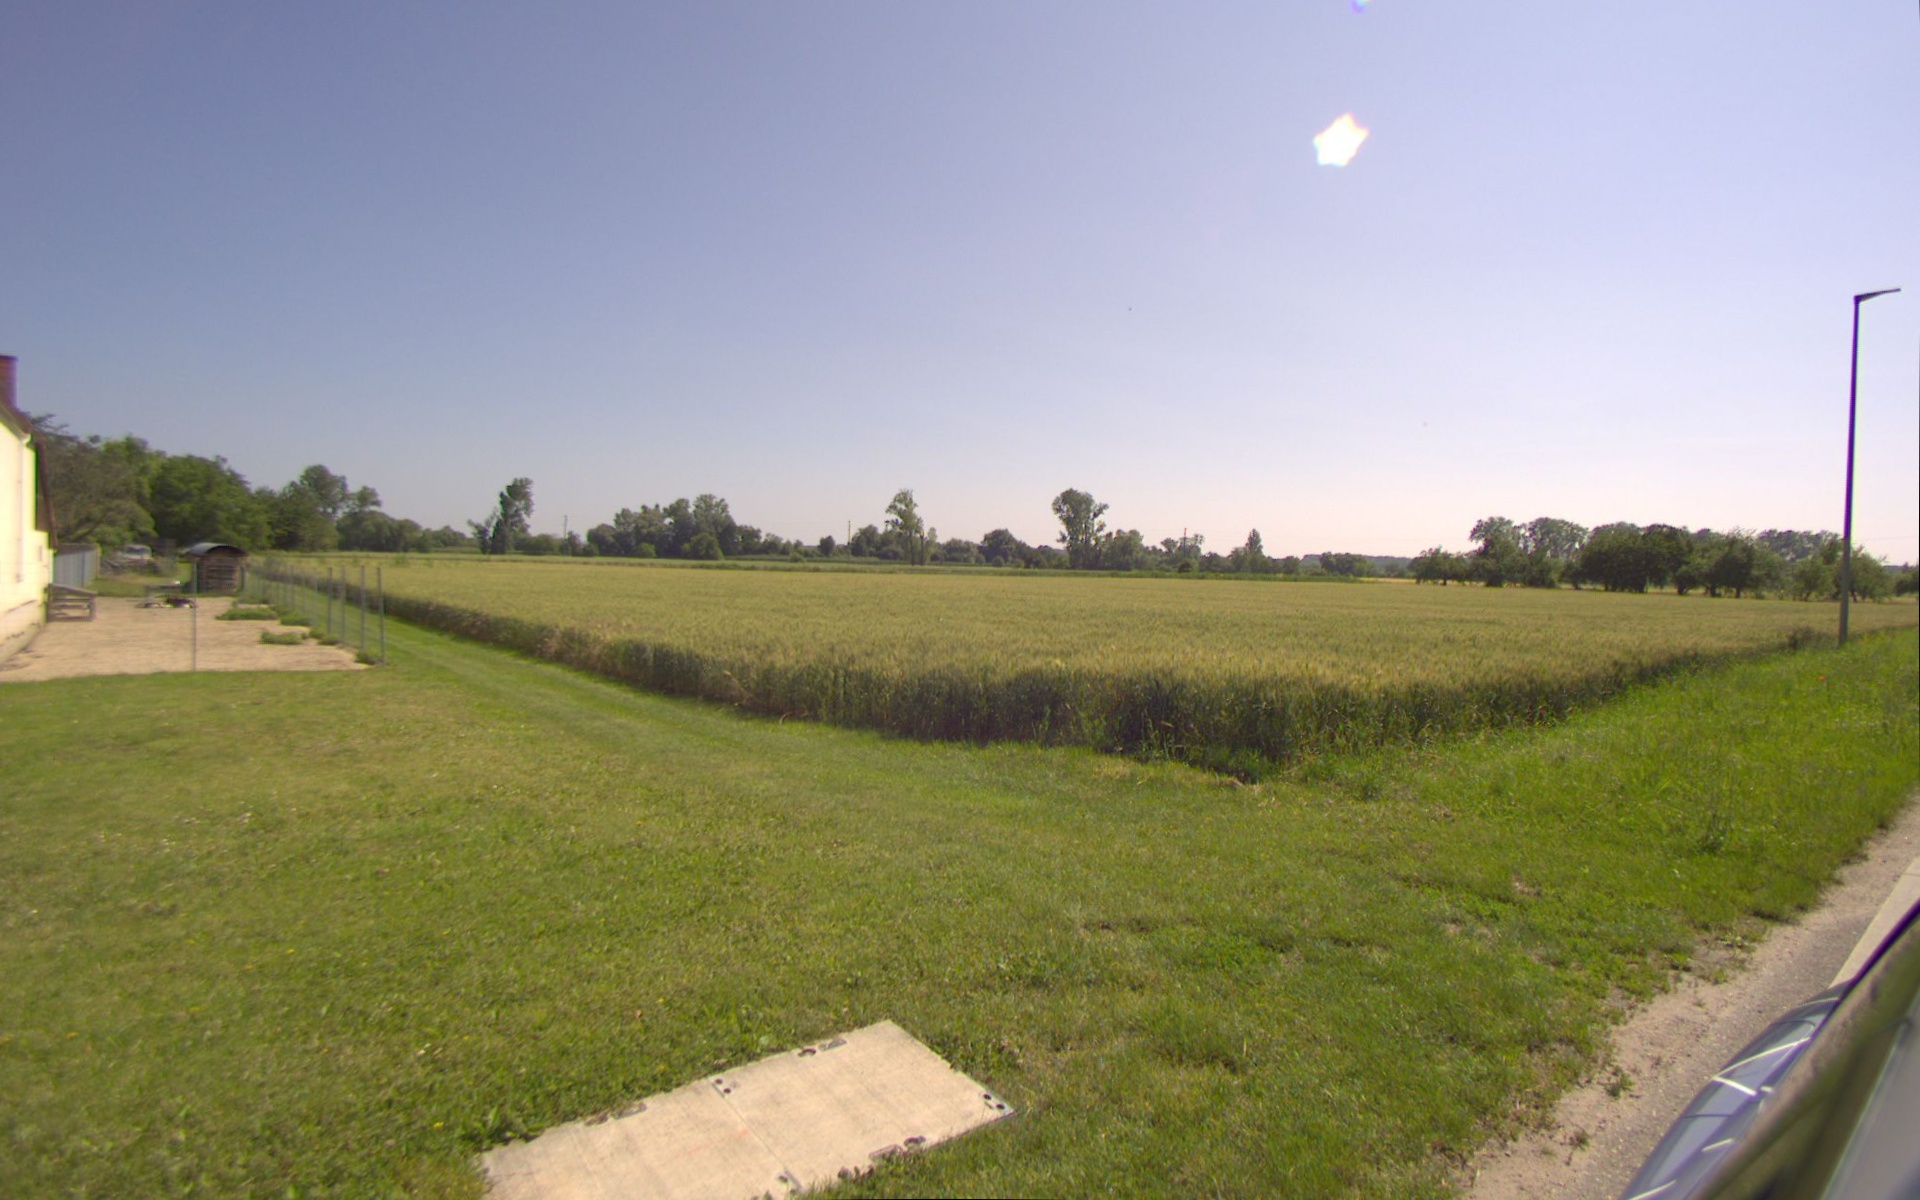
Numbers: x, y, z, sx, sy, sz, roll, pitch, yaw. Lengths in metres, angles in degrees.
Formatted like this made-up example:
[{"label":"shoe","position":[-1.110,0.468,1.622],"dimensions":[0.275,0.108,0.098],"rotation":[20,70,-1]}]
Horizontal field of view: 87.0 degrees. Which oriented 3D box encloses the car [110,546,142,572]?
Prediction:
[{"label":"car","position":[-65.186,-3.159,79.124],"dimensions":[1.873,1.971,4.302],"rotation":[-1,1,-39]}]
